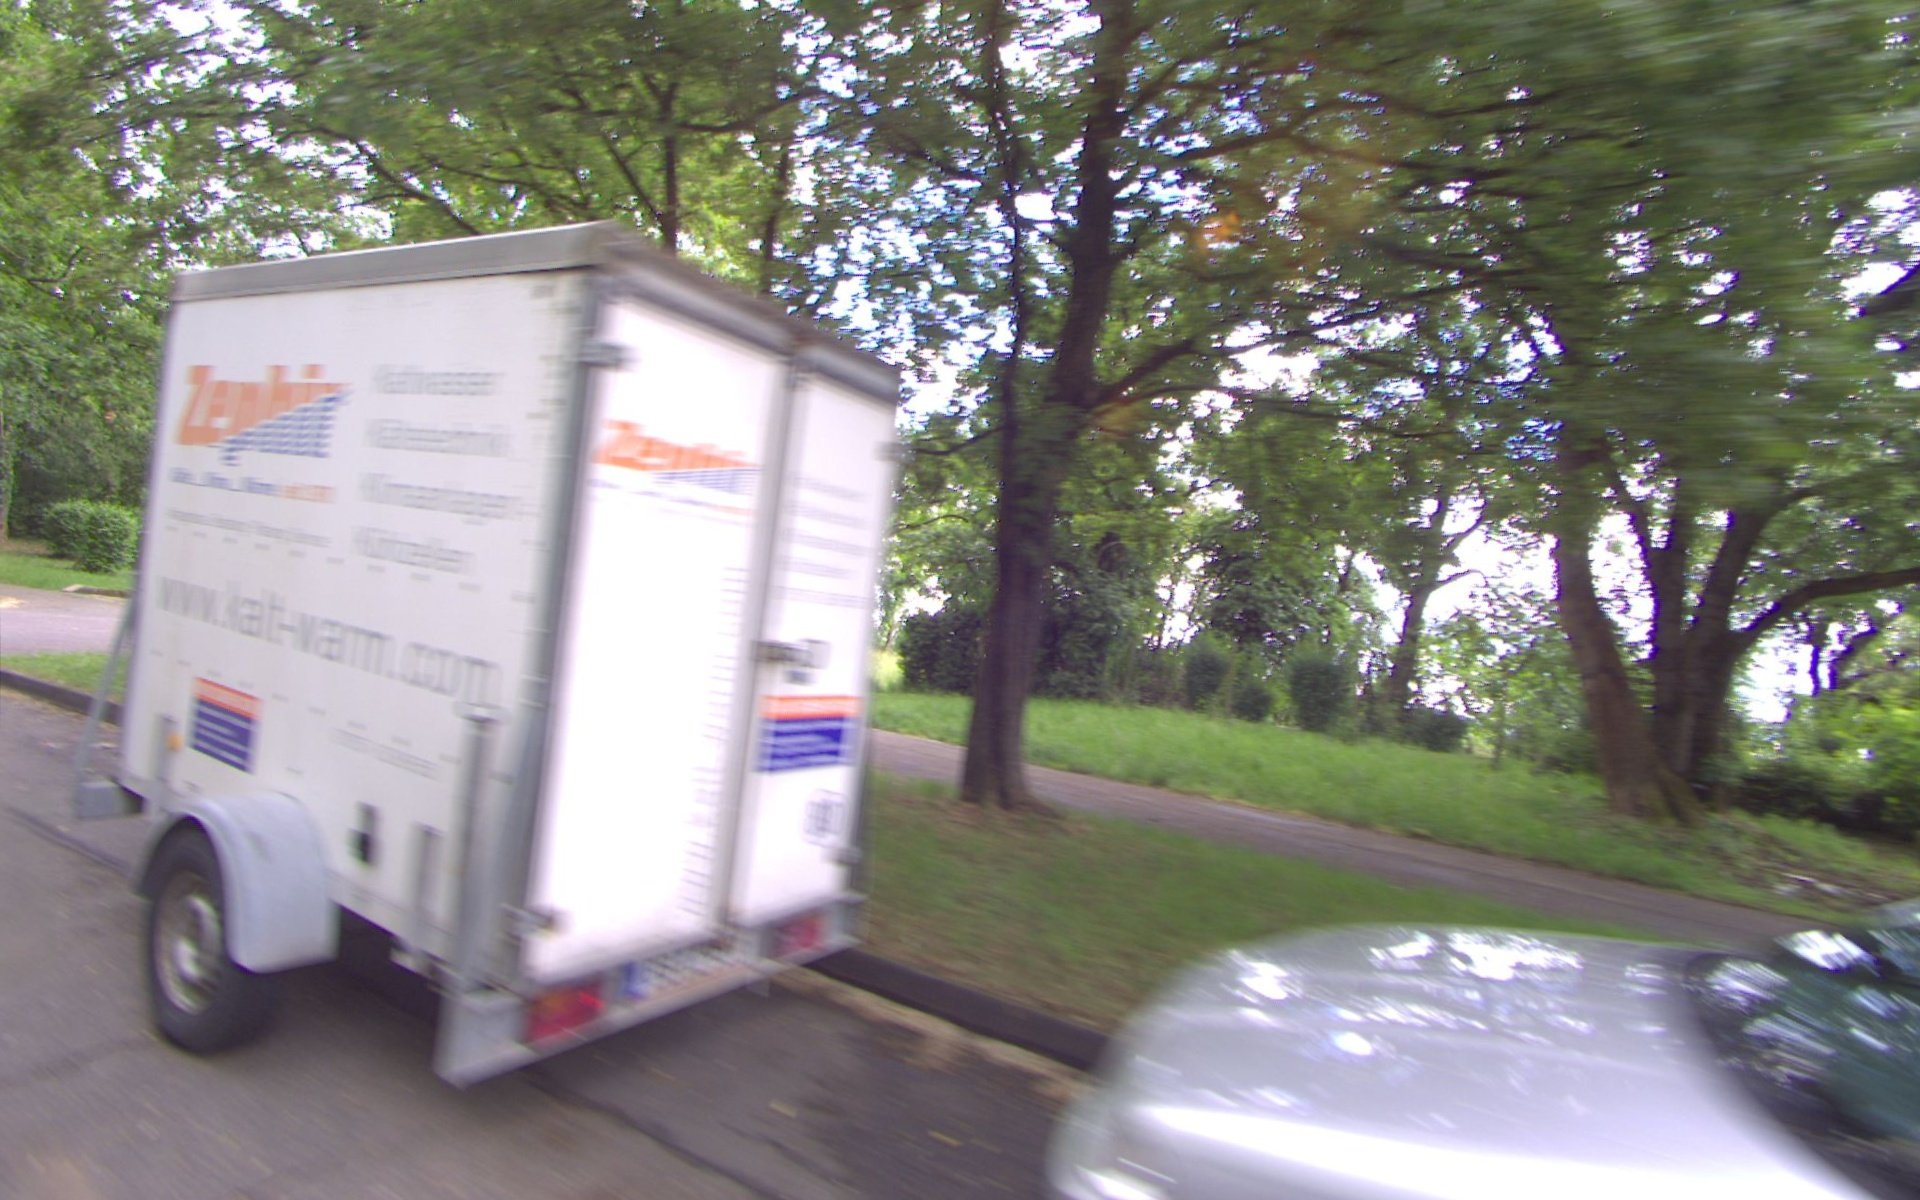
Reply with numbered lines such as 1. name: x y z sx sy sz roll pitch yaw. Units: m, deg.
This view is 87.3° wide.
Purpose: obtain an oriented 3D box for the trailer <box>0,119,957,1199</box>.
1. trailer: -2.224 0.058 3.926 3.821 2.456 1.764 7 -1 30

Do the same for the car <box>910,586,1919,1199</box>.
1. car: 2.324 1.026 1.292 4.558 1.543 1.744 6 -1 31
